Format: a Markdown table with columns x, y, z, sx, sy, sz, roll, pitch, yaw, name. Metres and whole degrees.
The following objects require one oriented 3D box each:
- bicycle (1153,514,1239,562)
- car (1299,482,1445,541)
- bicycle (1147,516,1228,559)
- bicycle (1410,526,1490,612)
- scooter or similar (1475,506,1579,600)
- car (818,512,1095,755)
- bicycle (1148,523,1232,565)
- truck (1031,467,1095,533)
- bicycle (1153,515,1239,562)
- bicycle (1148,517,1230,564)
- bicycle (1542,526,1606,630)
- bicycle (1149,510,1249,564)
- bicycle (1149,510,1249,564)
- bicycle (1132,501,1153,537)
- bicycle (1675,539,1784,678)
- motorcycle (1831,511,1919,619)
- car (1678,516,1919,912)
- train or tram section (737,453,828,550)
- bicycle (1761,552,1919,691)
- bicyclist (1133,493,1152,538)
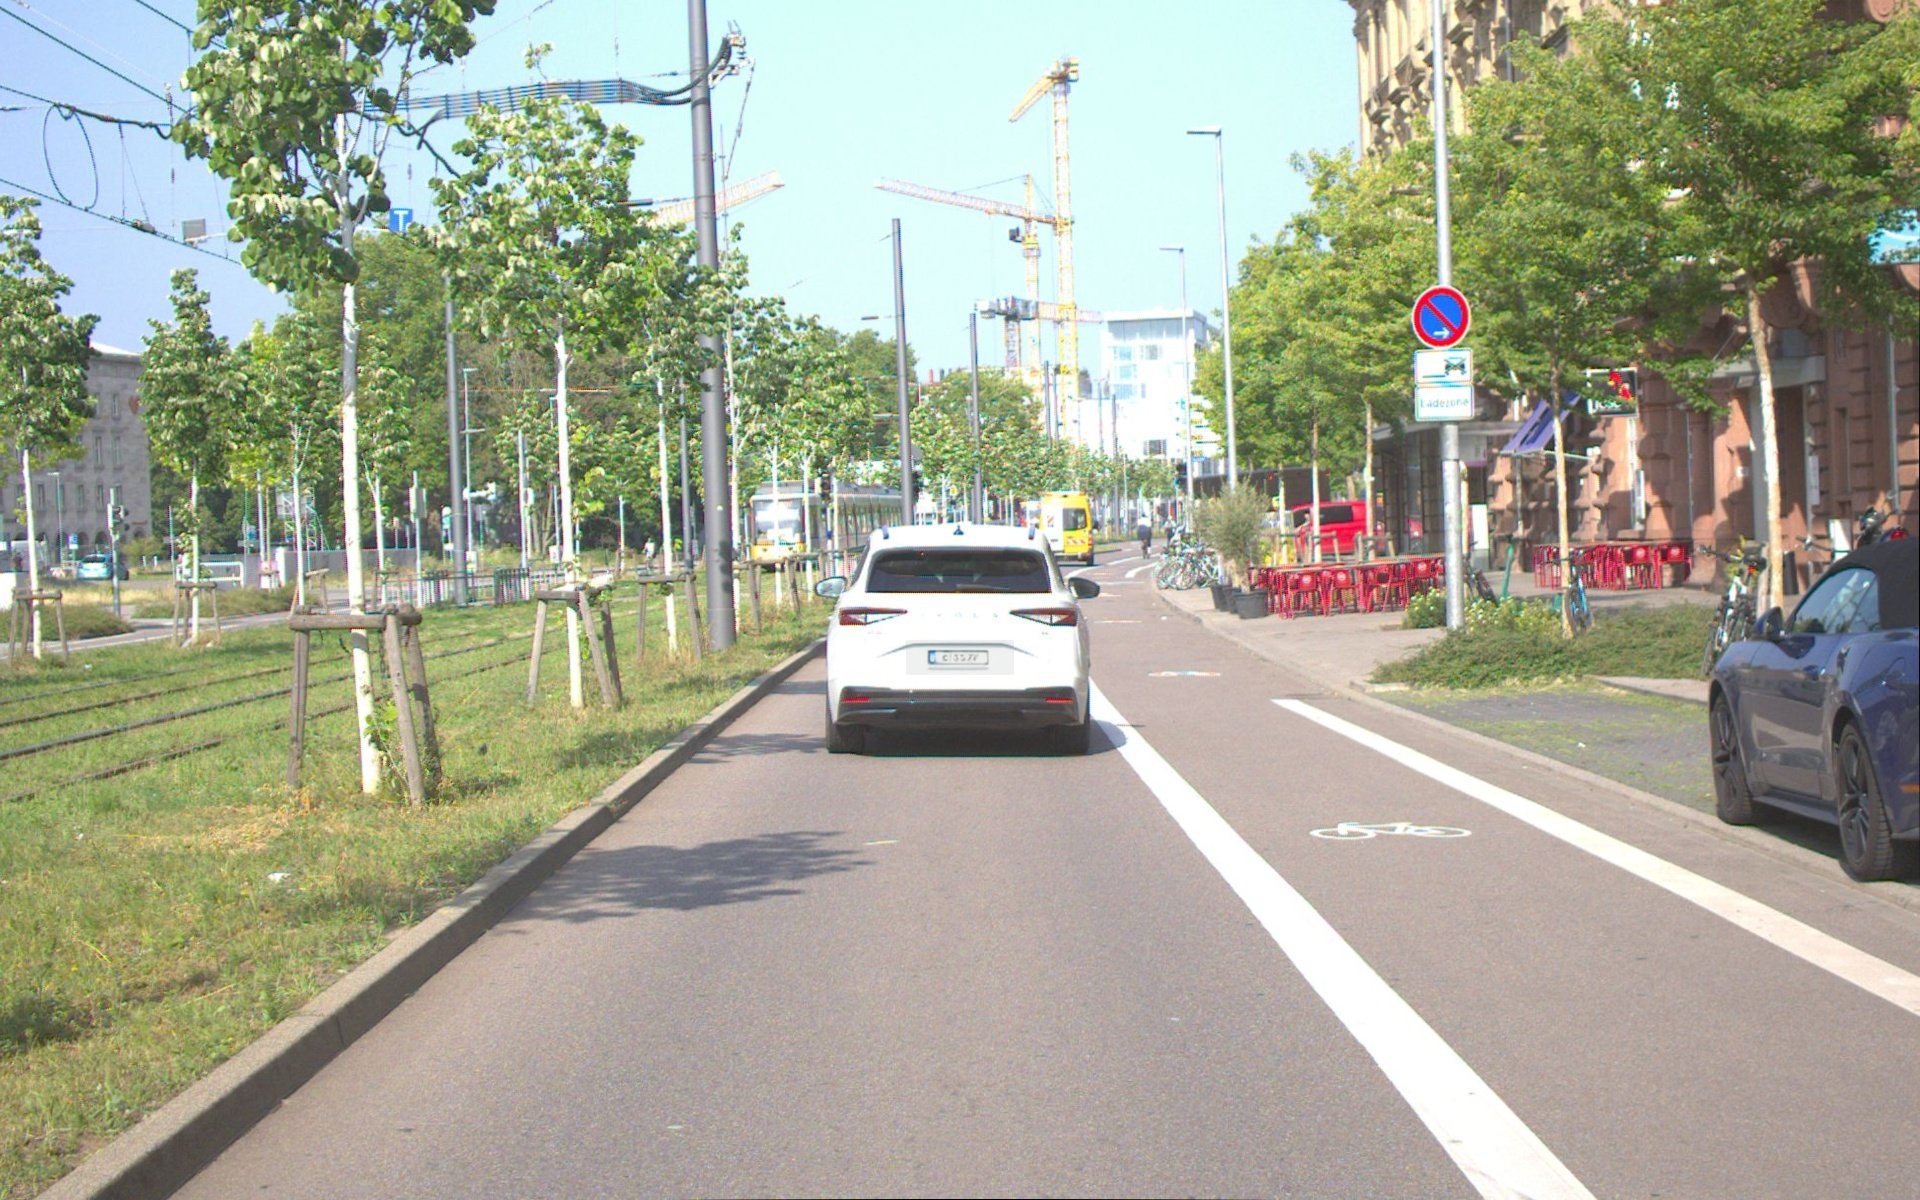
| x | y | z | sx | sy | sz | roll | pitch | yaw | name |
| --- | --- | --- | --- | --- | --- | --- | --- | --- | --- |
| 5.544 | -1.459 | 80.851 | 1.934 | 0.983 | 0.471 | -4 | 1 | 2 | bicycle |
| 12.654 | -2.739 | 105.698 | 4.355 | 1.678 | 2.000 | -1 | 2 | 7 | car |
| 5.612 | -1.541 | 84.683 | 1.935 | 0.942 | 0.440 | -4 | 1 | 5 | bicycle |
| 6.631 | -0.436 | 46.570 | 0.595 | 1.118 | 1.927 | -2 | 1 | -6 | bicycle |
| 7.502 | -0.621 | 45.485 | 1.256 | 1.153 | 0.340 | -4 | 1 | 5 | scooter or similar |
| -0.013 | 0.170 | 25.032 | 1.817 | 1.584 | 4.407 | -1 | 1 | 0 | car |
| 5.521 | -1.347 | 82.536 | 1.934 | 0.871 | 0.440 | -4 | 1 | 2 | bicycle |
| 3.804 | -3.662 | 126.220 | 2.213 | 2.310 | 5.890 | -2 | 2 | 2 | truck |
| 5.574 | -1.467 | 81.331 | 1.955 | 0.983 | 0.471 | -4 | 1 | 2 | bicycle |
| 5.609 | -1.452 | 84.188 | 1.935 | 1.009 | 0.440 | -4 | 1 | 5 | bicycle |
| 6.878 | -0.258 | 38.471 | 0.505 | 1.056 | 1.712 | -3 | 2 | 15 | bicycle |
| 5.519 | -1.457 | 79.440 | 2.239 | 1.100 | 0.588 | -4 | 1 | 2 | bicycle |
| 5.548 | -1.467 | 79.995 | 2.239 | 1.100 | 0.519 | -4 | 1 | 2 | bicycle |
| 7.754 | -3.432 | 145.929 | 0.781 | 1.491 | 2.800 | -2 | 2 | 2 | bicycle |
| 6.401 | 0.051 | 28.659 | 0.492 | 1.090 | 1.827 | -2 | 1 | 0 | bicycle |
| 10.436 | -0.407 | 39.190 | 0.463 | 1.171 | 1.945 | -4 | 1 | 1 | motorcycle |
| 4.493 | 0.361 | 15.142 | 1.736 | 1.391 | 4.715 | -3 | 2 | 2 | car |
| -6.949 | -3.836 | 136.468 | 2.898 | 3.574 | 12.478 | -2 | 1 | 0 | train or tram section |
| 7.155 | 0.160 | 27.767 | 0.454 | 1.078 | 1.873 | -2 | -1 | 42 | bicycle |
| 7.743 | -3.589 | 145.765 | 0.709 | 1.889 | 0.843 | -2 | 2 | 2 | bicyclist |
